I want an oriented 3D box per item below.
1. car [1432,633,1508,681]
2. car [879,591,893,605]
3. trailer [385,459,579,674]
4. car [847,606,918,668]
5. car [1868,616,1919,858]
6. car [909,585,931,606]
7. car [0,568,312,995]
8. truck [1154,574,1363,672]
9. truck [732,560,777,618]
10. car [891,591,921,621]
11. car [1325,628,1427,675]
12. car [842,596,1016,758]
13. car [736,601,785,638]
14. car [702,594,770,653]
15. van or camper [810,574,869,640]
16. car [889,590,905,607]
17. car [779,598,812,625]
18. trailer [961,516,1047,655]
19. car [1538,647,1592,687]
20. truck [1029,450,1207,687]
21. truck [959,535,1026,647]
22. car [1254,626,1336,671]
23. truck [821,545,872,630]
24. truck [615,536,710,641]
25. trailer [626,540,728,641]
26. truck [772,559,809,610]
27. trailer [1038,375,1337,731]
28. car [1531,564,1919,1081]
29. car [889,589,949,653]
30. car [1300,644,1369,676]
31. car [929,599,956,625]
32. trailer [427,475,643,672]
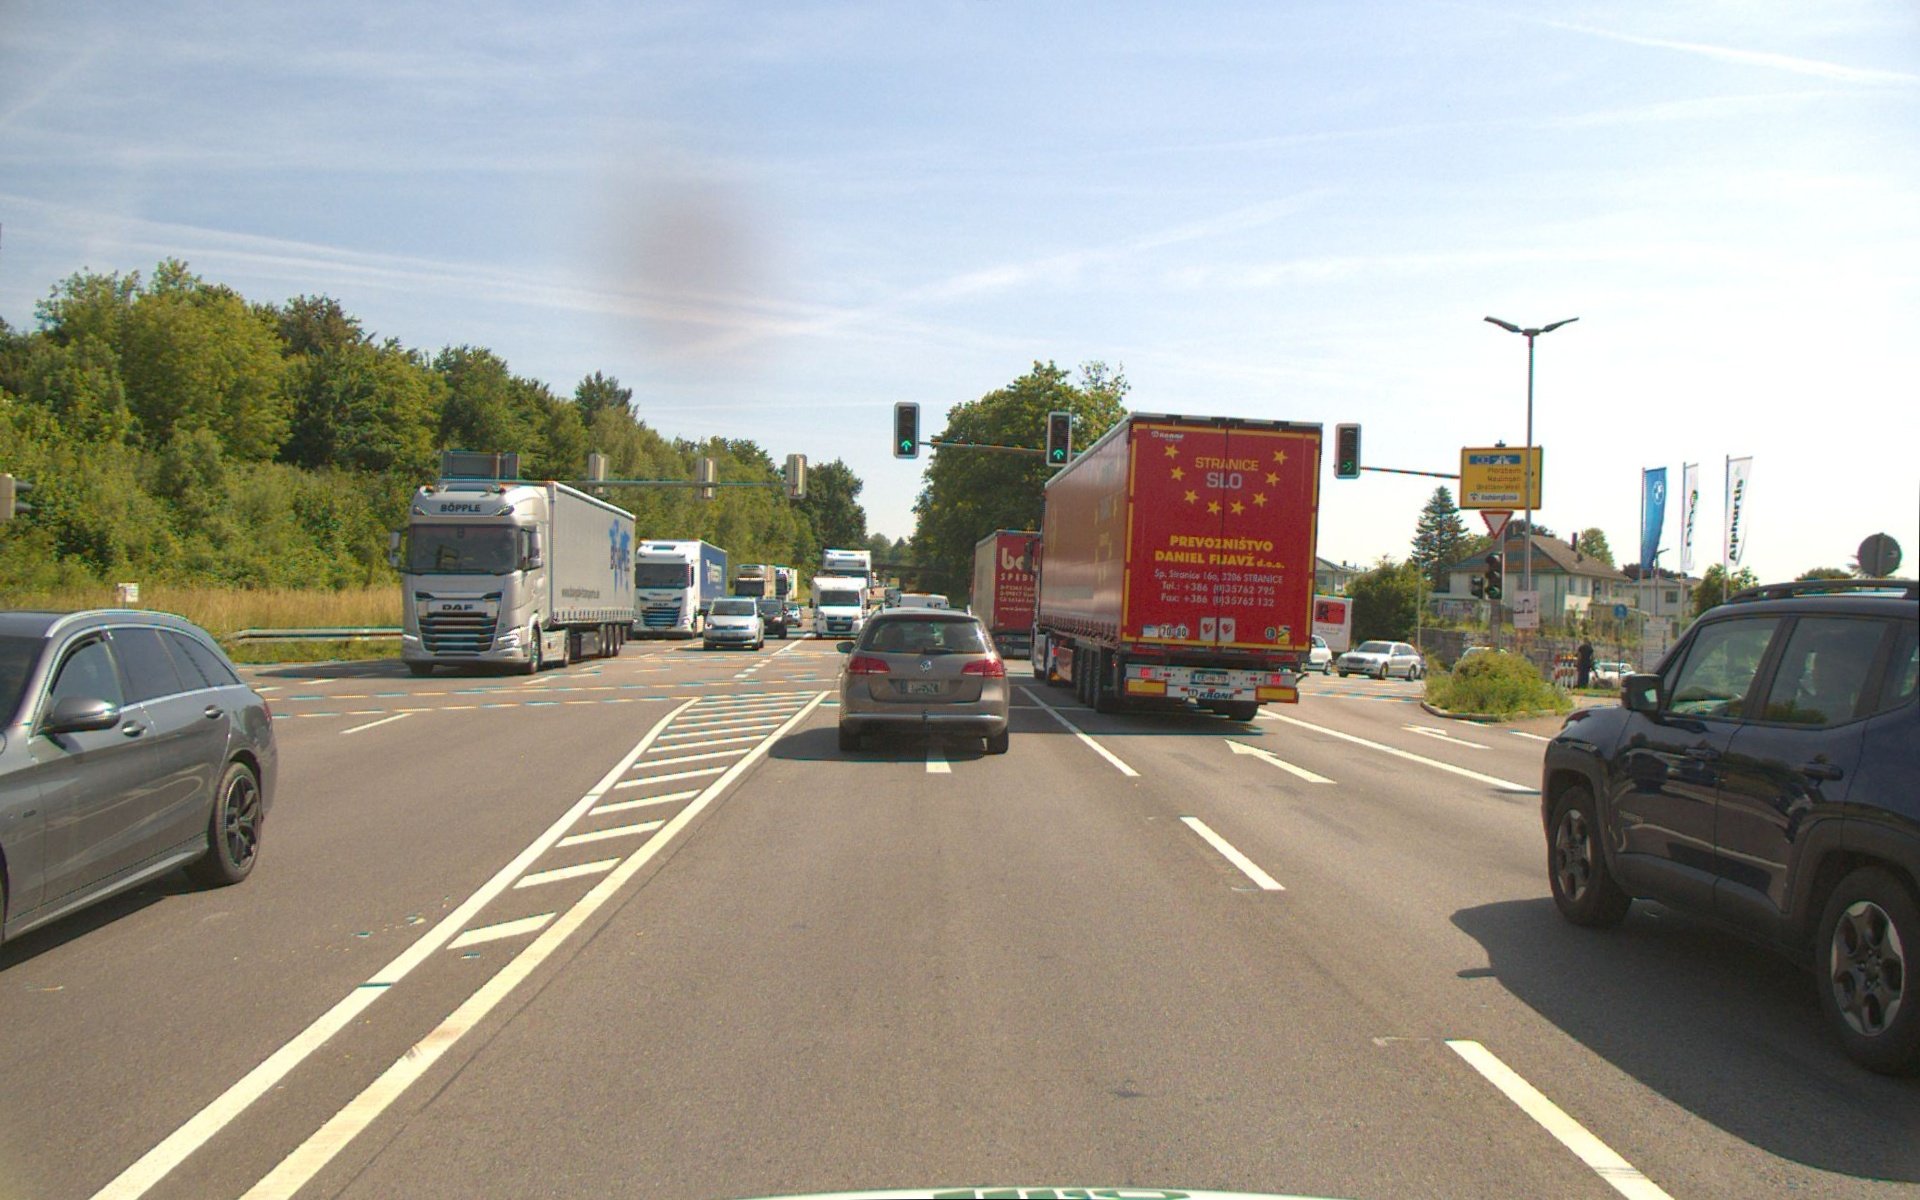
[{"bbox_3d":[19.235,2.146,62.281,1.956,1.602,3.994,4,0,28],"label":"car"},{"bbox_3d":[-10.882,-0.242,243.075,1.954,2.049,3.997,1,0,-4],"label":"car"},{"bbox_3d":[-10.060,-0.643,35.456,2.593,4.177,6.177,1,0,-3],"label":"trailer"},{"bbox_3d":[-2.057,0.929,43.206,1.735,1.539,3.997,1,0,-4],"label":"car"},{"bbox_3d":[7.096,0.923,8.987,1.952,1.546,4.450,3,0,2],"label":"car"},{"bbox_3d":[-3.965,-0.458,163.865,1.954,2.049,3.997,1,0,-4],"label":"car"},{"bbox_3d":[-4.685,0.688,7.544,1.883,1.630,4.585,0,0,-4],"label":"car"},{"bbox_3d":[14.331,1.113,79.268,9.529,3.690,2.751,6,-2,-20],"label":"truck"},{"bbox_3d":[-15.195,-0.789,122.640,2.675,4.069,9.613,1,0,-4],"label":"truck"},{"bbox_3d":[-3.769,0.426,115.102,1.954,2.049,3.997,1,0,-4],"label":"car"},{"bbox_3d":[16.070,1.995,63.717,1.961,1.531,4.978,3,-2,37],"label":"car"},{"bbox_3d":[-0.418,0.742,17.826,1.658,1.539,3.997,1,0,-4],"label":"car"},{"bbox_3d":[-8.529,0.803,71.004,1.955,1.511,4.448,1,0,-6],"label":"car"},{"bbox_3d":[-7.301,0.723,54.216,1.806,1.763,4.585,3,0,-4],"label":"car"},{"bbox_3d":[-5.107,0.298,70.820,2.284,2.646,6.975,1,0,-3],"label":"van or camper"},{"bbox_3d":[-7.731,-0.176,202.456,1.954,2.049,3.997,1,0,-4],"label":"car"},{"bbox_3d":[-9.713,0.654,97.950,1.690,1.528,3.998,1,0,-2],"label":"car"},{"bbox_3d":[1.388,-0.440,58.511,2.347,4.317,13.073,1,0,-1],"label":"trailer"},{"bbox_3d":[27.039,2.998,73.865,1.741,1.602,3.703,4,0,27],"label":"car"},{"bbox_3d":[3.108,-0.581,34.169,2.812,4.355,5.837,3,0,-2],"label":"truck"},{"bbox_3d":[1.228,-0.342,65.167,2.357,4.200,5.519,1,0,-1],"label":"truck"},{"bbox_3d":[13.216,1.924,65.146,1.678,1.530,3.740,3,-2,37],"label":"car"},{"bbox_3d":[-5.811,-0.597,84.493,2.487,4.159,6.260,1,0,-4],"label":"truck"},{"bbox_3d":[-12.353,-0.440,69.136,3.124,4.151,6.341,1,0,-4],"label":"truck"},{"bbox_3d":[-12.785,-0.373,75.894,3.032,4.151,14.116,1,0,-3],"label":"trailer"},{"bbox_3d":[-14.631,-1.286,143.251,2.774,4.188,9.674,1,0,-4],"label":"truck"},{"bbox_3d":[3.238,-0.584,27.815,2.782,4.441,13.164,3,0,-1],"label":"trailer"},{"bbox_3d":[3.967,0.739,6.861,1.734,1.683,3.999,1,0,-1],"label":"car"},{"bbox_3d":[-1.348,0.653,52.905,1.735,1.970,3.974,1,0,-4],"label":"car"},{"bbox_3d":[19.546,3.135,86.198,1.961,1.486,4.302,1,-2,37],"label":"car"},{"bbox_3d":[-1.434,0.951,133.922,1.954,2.049,3.997,1,0,-4],"label":"car"},{"bbox_3d":[-10.475,-0.552,42.545,2.638,4.220,13.870,1,0,-3],"label":"trailer"}]
